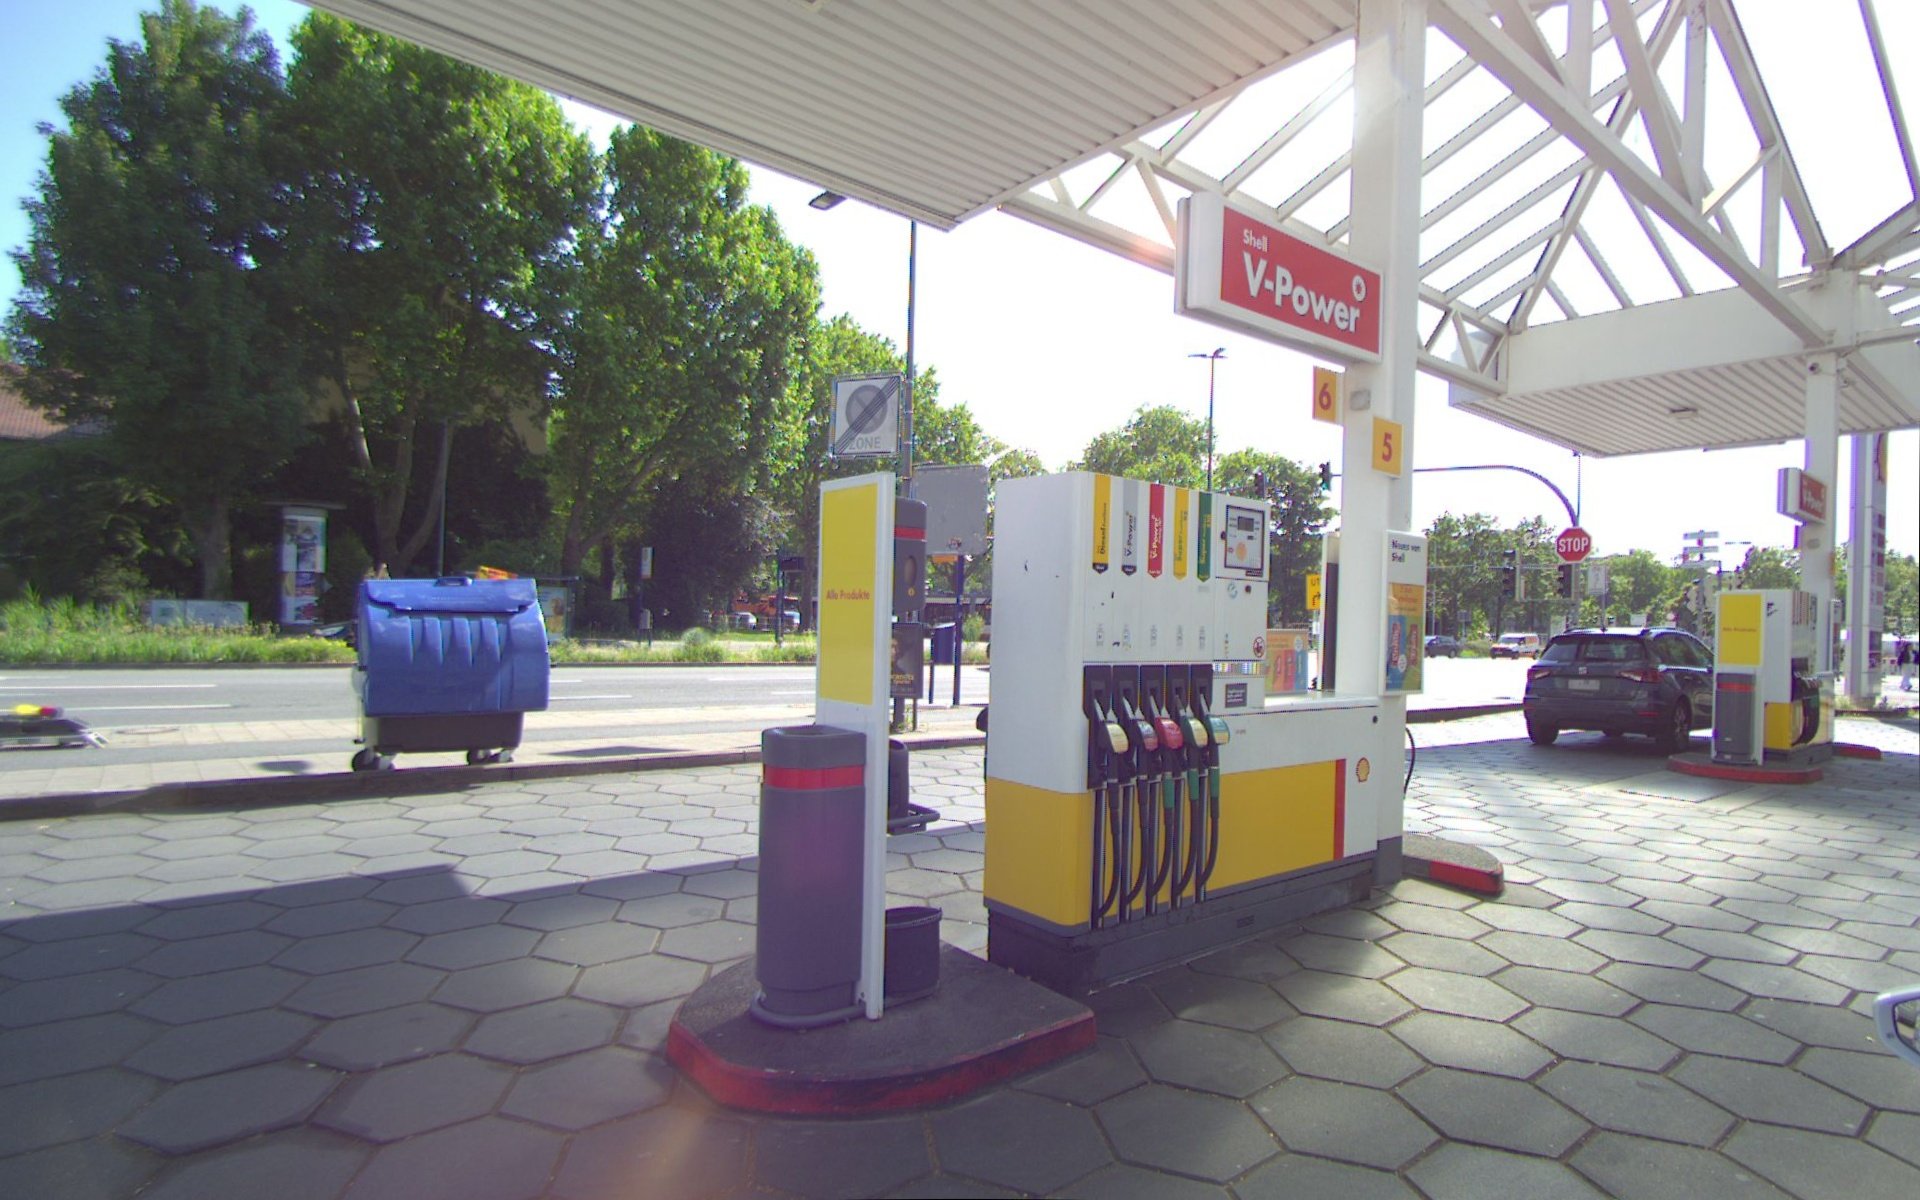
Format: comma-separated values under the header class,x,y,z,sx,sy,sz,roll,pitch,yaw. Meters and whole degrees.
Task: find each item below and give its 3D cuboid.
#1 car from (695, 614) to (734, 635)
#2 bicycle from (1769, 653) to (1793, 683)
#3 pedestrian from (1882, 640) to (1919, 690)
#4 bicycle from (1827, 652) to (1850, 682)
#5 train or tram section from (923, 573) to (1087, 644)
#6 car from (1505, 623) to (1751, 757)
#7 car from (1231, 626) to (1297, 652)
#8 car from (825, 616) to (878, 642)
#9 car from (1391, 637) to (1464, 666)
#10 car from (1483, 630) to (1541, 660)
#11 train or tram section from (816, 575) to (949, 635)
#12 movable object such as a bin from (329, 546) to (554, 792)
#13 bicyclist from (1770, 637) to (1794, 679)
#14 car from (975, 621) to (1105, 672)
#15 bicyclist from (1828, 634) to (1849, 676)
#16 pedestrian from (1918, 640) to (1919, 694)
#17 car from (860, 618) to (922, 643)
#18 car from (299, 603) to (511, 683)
class,x,y,z,sx,sy,sz,roll,pitch,yaw
car,-21.369,2.152,87.369,1.852,1.711,3.958,3,-3,-37
bicycle,32.607,2.679,39.881,0.630,1.096,2.016,1,-1,41
pedestrian,33.430,2.293,35.641,0.496,1.705,0.929,2,-1,-25
bicycle,33.532,2.542,38.346,0.516,1.096,1.860,2,-1,37
train or tram section,2.772,0.536,71.225,2.309,4.549,14.776,3,-2,-39
car,9.134,1.155,13.622,3.967,1.552,1.729,3,-3,-40
car,21.818,2.805,72.034,4.140,1.829,1.995,-1,-3,34
car,-7.570,2.010,69.850,1.852,1.711,3.958,3,-3,-37
car,31.261,3.467,67.198,4.142,1.829,1.994,2,-3,-16
car,40.009,3.276,72.768,4.404,2.040,1.980,3,-3,-36
train or tram section,-6.759,0.349,83.163,2.309,4.549,15.746,3,-2,-39
movable object such as a bin,-4.103,0.524,7.929,1.325,1.710,1.329,3,-3,-37
bicyclist,32.679,2.302,39.936,0.631,1.601,1.166,1,-1,43
car,2.540,1.460,31.363,3.969,1.385,1.666,3,1,-40
bicyclist,33.551,2.112,38.373,0.526,1.564,0.862,2,-1,38
pedestrian,30.633,2.126,31.496,0.766,1.705,0.501,1,-1,36
car,-4.450,1.951,64.630,1.857,1.532,3.947,4,-4,-44
car,-13.770,1.063,25.031,4.353,1.792,1.978,3,-1,-38
